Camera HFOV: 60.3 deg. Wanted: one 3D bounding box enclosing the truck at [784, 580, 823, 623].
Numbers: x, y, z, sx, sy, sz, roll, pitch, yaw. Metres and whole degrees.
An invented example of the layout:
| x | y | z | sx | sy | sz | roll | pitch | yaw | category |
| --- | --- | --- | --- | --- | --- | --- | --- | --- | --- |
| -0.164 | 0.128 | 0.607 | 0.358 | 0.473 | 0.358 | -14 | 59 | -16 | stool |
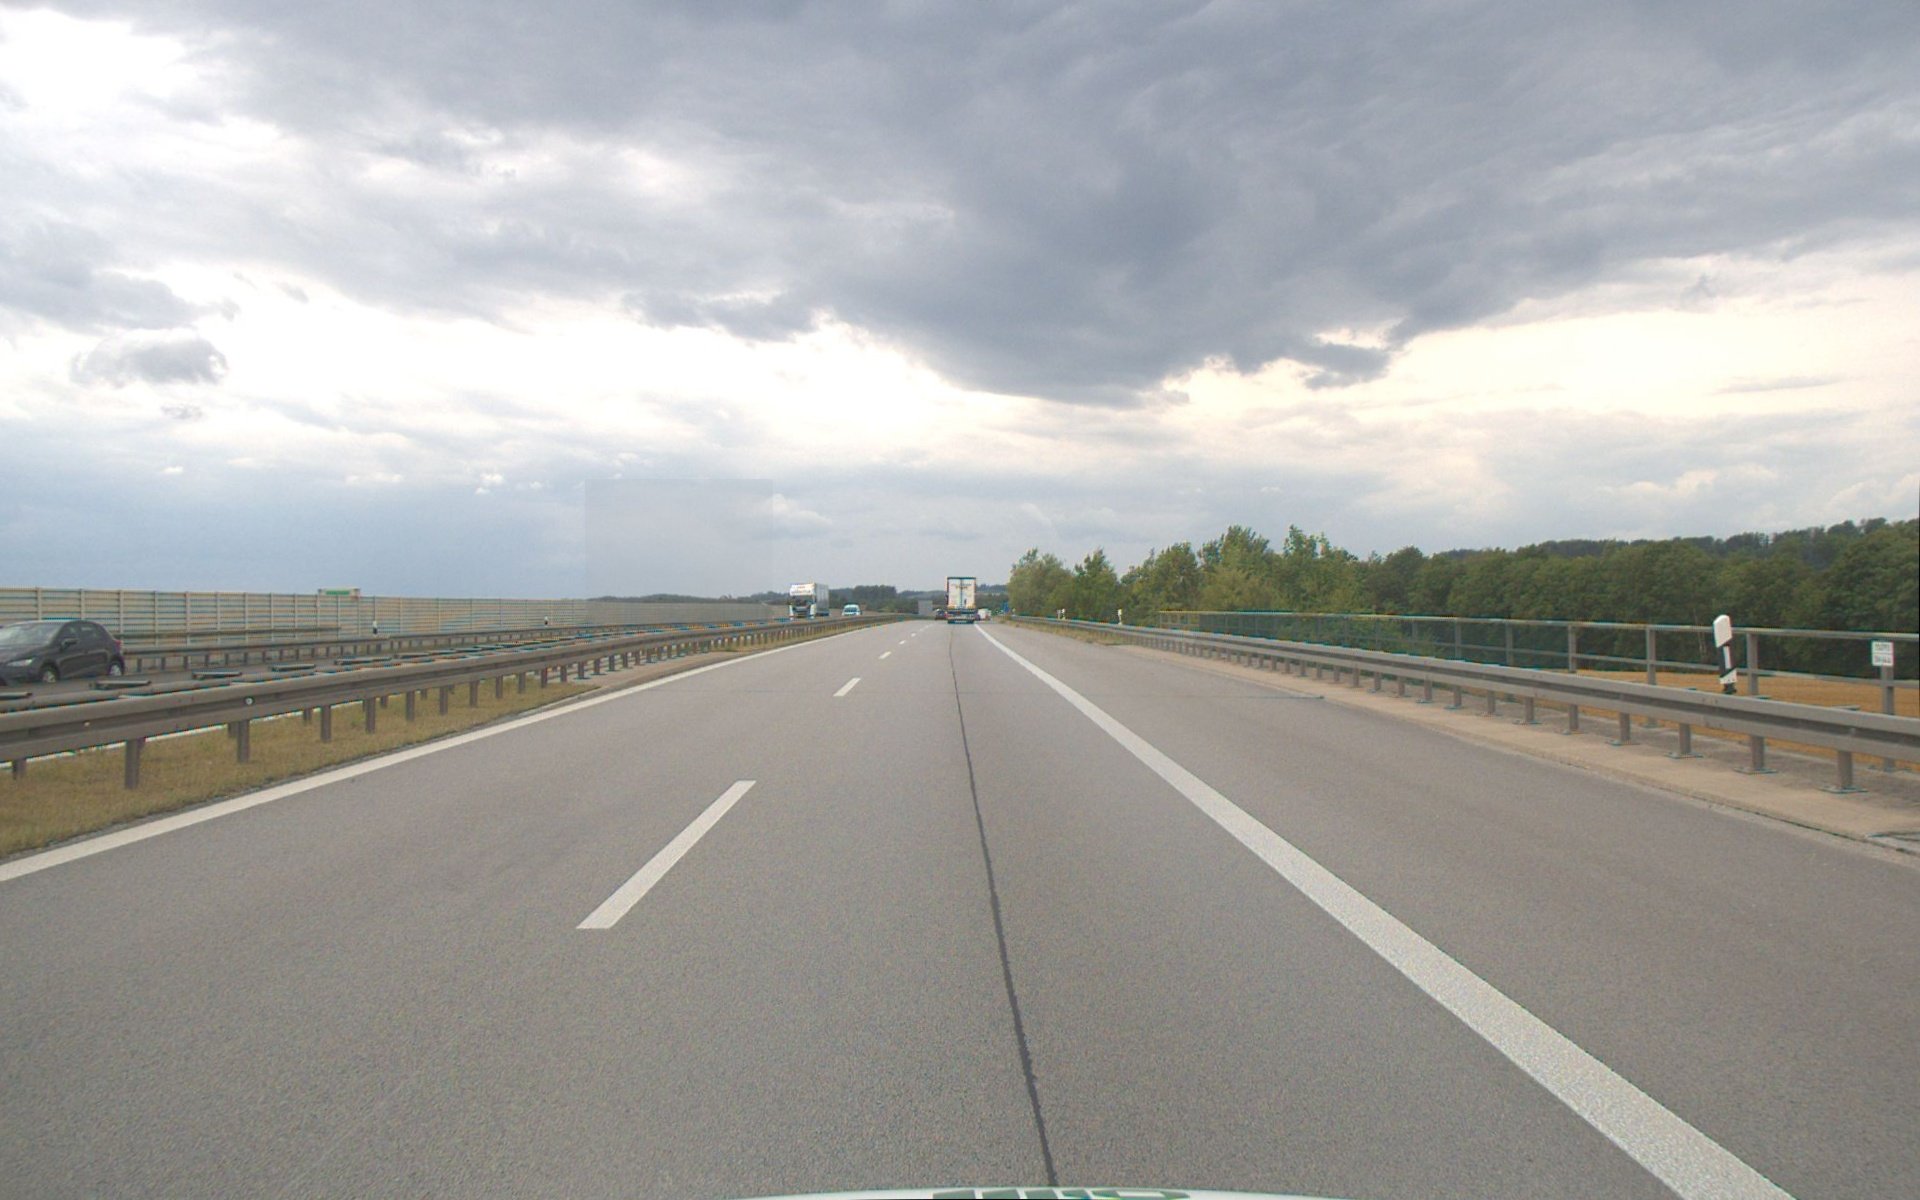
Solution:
| x | y | z | sx | sy | sz | roll | pitch | yaw | category |
| --- | --- | --- | --- | --- | --- | --- | --- | --- | --- |
| -15.373 | 0.175 | 162.734 | 3.046 | 4.084 | 7.323 | -2 | 0 | -1 | truck |

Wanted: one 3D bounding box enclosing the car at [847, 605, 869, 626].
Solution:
| x | y | z | sx | sy | sz | roll | pitch | yaw | category |
| --- | --- | --- | --- | --- | --- | --- | --- | --- | --- |
| -10.241 | 1.557 | 166.337 | 1.778 | 1.879 | 4.180 | 4 | -1 | 0 | car |

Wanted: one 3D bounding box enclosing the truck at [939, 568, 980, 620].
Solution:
| x | y | z | sx | sy | sz | roll | pitch | yaw | category |
| --- | --- | --- | --- | --- | --- | --- | --- | --- | --- |
| -0.067 | -0.412 | 153.168 | 3.597 | 4.490 | 16.338 | 0 | -1 | 0 | truck |

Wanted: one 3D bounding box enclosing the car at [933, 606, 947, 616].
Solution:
| x | y | z | sx | sy | sz | roll | pitch | yaw | category |
| --- | --- | --- | --- | --- | --- | --- | --- | --- | --- |
| -3.092 | 1.685 | 252.784 | 1.954 | 1.445 | 3.998 | 1 | 0 | -3 | car |

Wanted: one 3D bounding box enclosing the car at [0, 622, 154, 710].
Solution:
| x | y | z | sx | sy | sz | roll | pitch | yaw | category |
| --- | --- | --- | --- | --- | --- | --- | --- | --- | --- |
| -17.723 | 1.250 | 32.356 | 1.669 | 1.521 | 4.565 | -2 | 0 | -1 | car |

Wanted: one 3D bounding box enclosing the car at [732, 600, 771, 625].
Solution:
| x | y | z | sx | sy | sz | roll | pitch | yaw | category |
| --- | --- | --- | --- | --- | --- | --- | --- | --- | --- |
| -13.210 | 0.777 | 104.934 | 1.760 | 1.397 | 4.682 | -6 | 0 | -1 | car |
